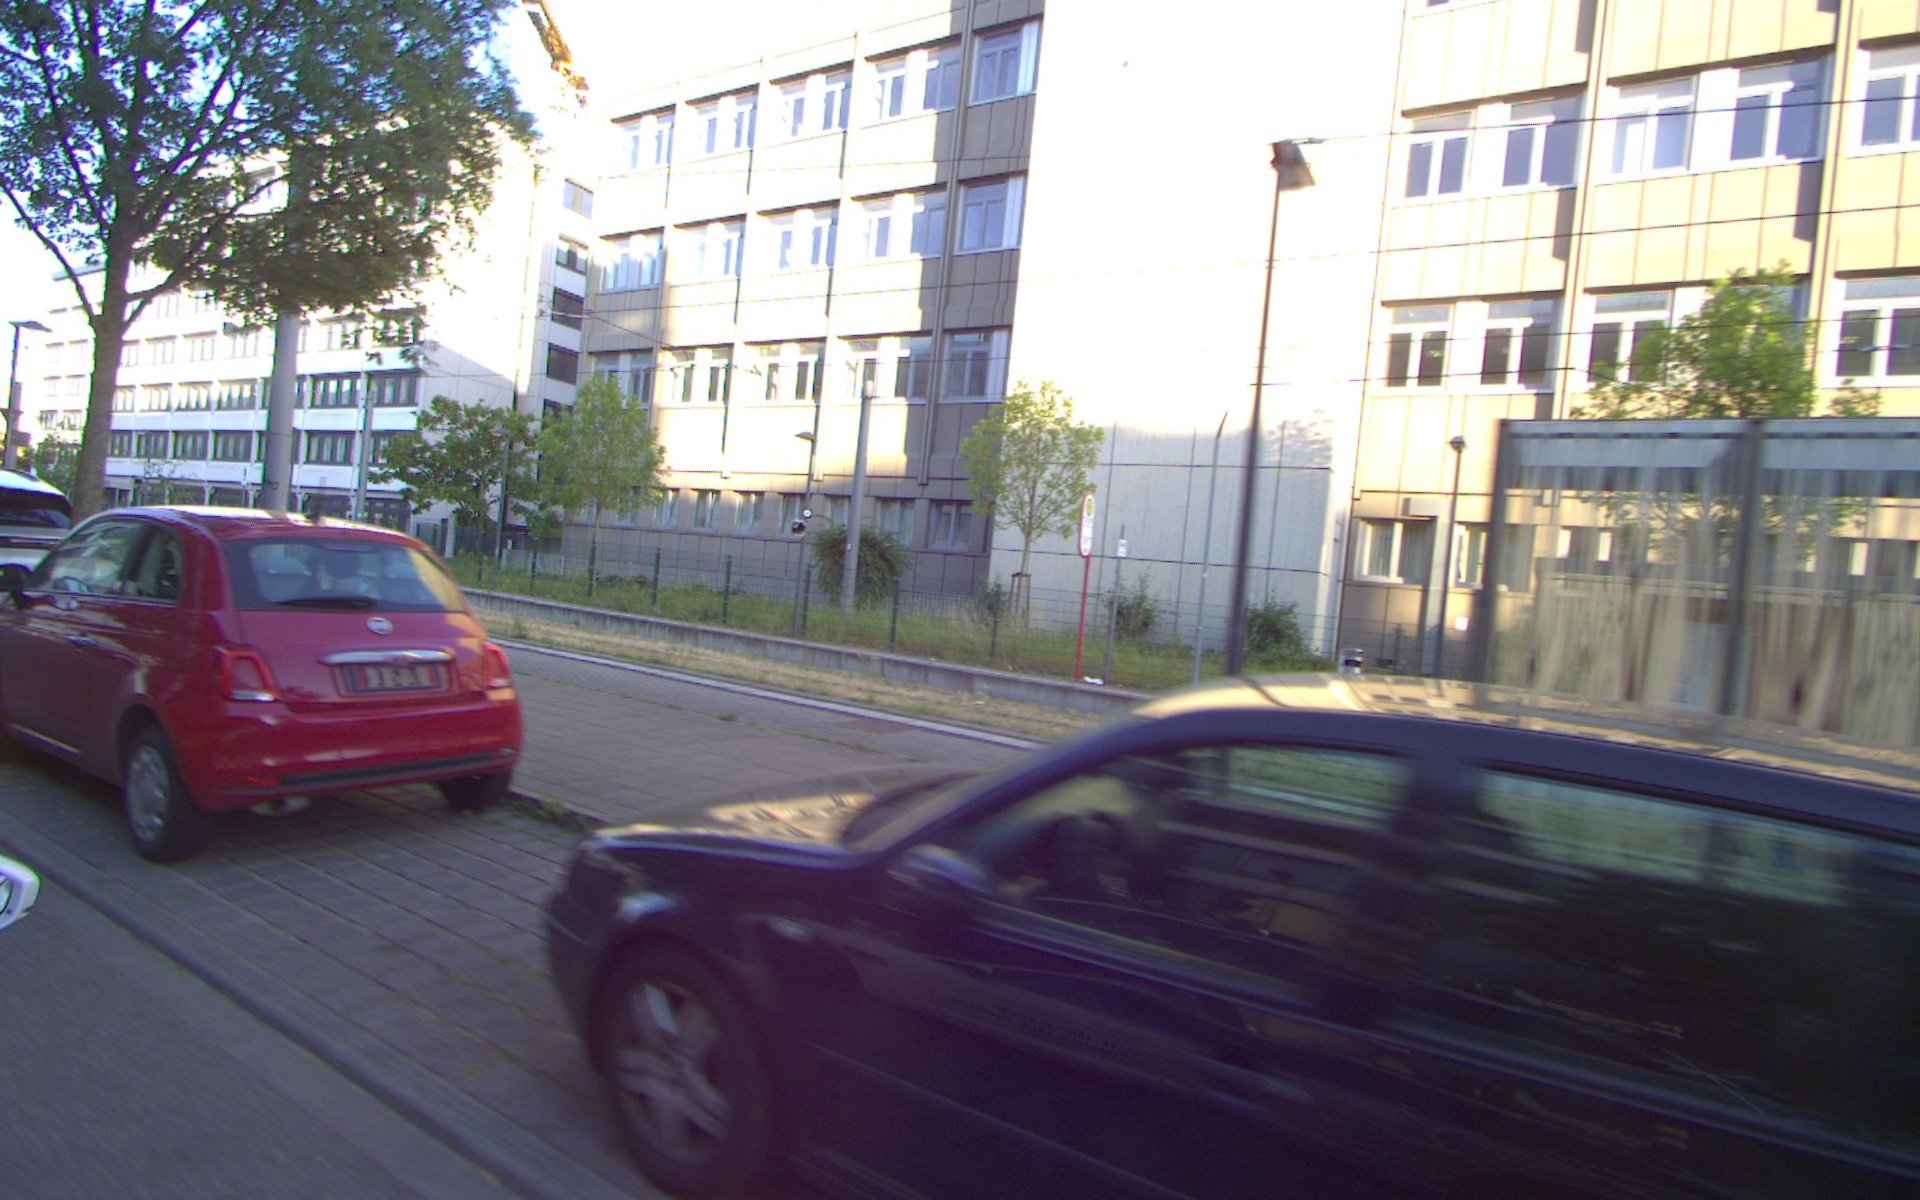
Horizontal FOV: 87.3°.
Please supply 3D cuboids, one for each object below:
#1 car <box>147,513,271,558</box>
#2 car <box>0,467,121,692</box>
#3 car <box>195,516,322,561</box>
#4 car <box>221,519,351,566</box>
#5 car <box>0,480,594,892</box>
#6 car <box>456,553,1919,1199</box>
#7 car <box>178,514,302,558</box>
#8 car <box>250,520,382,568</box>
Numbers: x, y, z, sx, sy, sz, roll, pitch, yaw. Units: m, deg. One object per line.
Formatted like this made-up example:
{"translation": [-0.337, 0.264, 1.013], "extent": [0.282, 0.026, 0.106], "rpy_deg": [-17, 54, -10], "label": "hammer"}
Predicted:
{"translation": [-33.383, -2.839, 44.804], "extent": [1.793, 1.533, 3.989], "rpy_deg": [7, 2, 30], "label": "car"}
{"translation": [-8.757, -0.342, 8.176], "extent": [4.406, 1.601, 1.707], "rpy_deg": [6, 2, 33], "label": "car"}
{"translation": [-29.153, -2.528, 41.927], "extent": [1.648, 1.507, 3.987], "rpy_deg": [6, 2, 32], "label": "car"}
{"translation": [-27.188, -2.311, 40.692], "extent": [1.648, 1.507, 3.987], "rpy_deg": [6, 2, 32], "label": "car"}
{"translation": [-4.145, 0.211, 5.602], "extent": [4.061, 1.513, 1.708], "rpy_deg": [6, 2, 31], "label": "car"}
{"translation": [0.797, 0.811, 2.441], "extent": [3.933, 1.471, 1.708], "rpy_deg": [6, 2, 31], "label": "car"}
{"translation": [-30.875, -2.727, 43.241], "extent": [1.648, 1.507, 3.987], "rpy_deg": [6, 2, 32], "label": "car"}
{"translation": [-25.175, -2.170, 39.454], "extent": [1.648, 1.507, 3.987], "rpy_deg": [6, 2, 32], "label": "car"}
